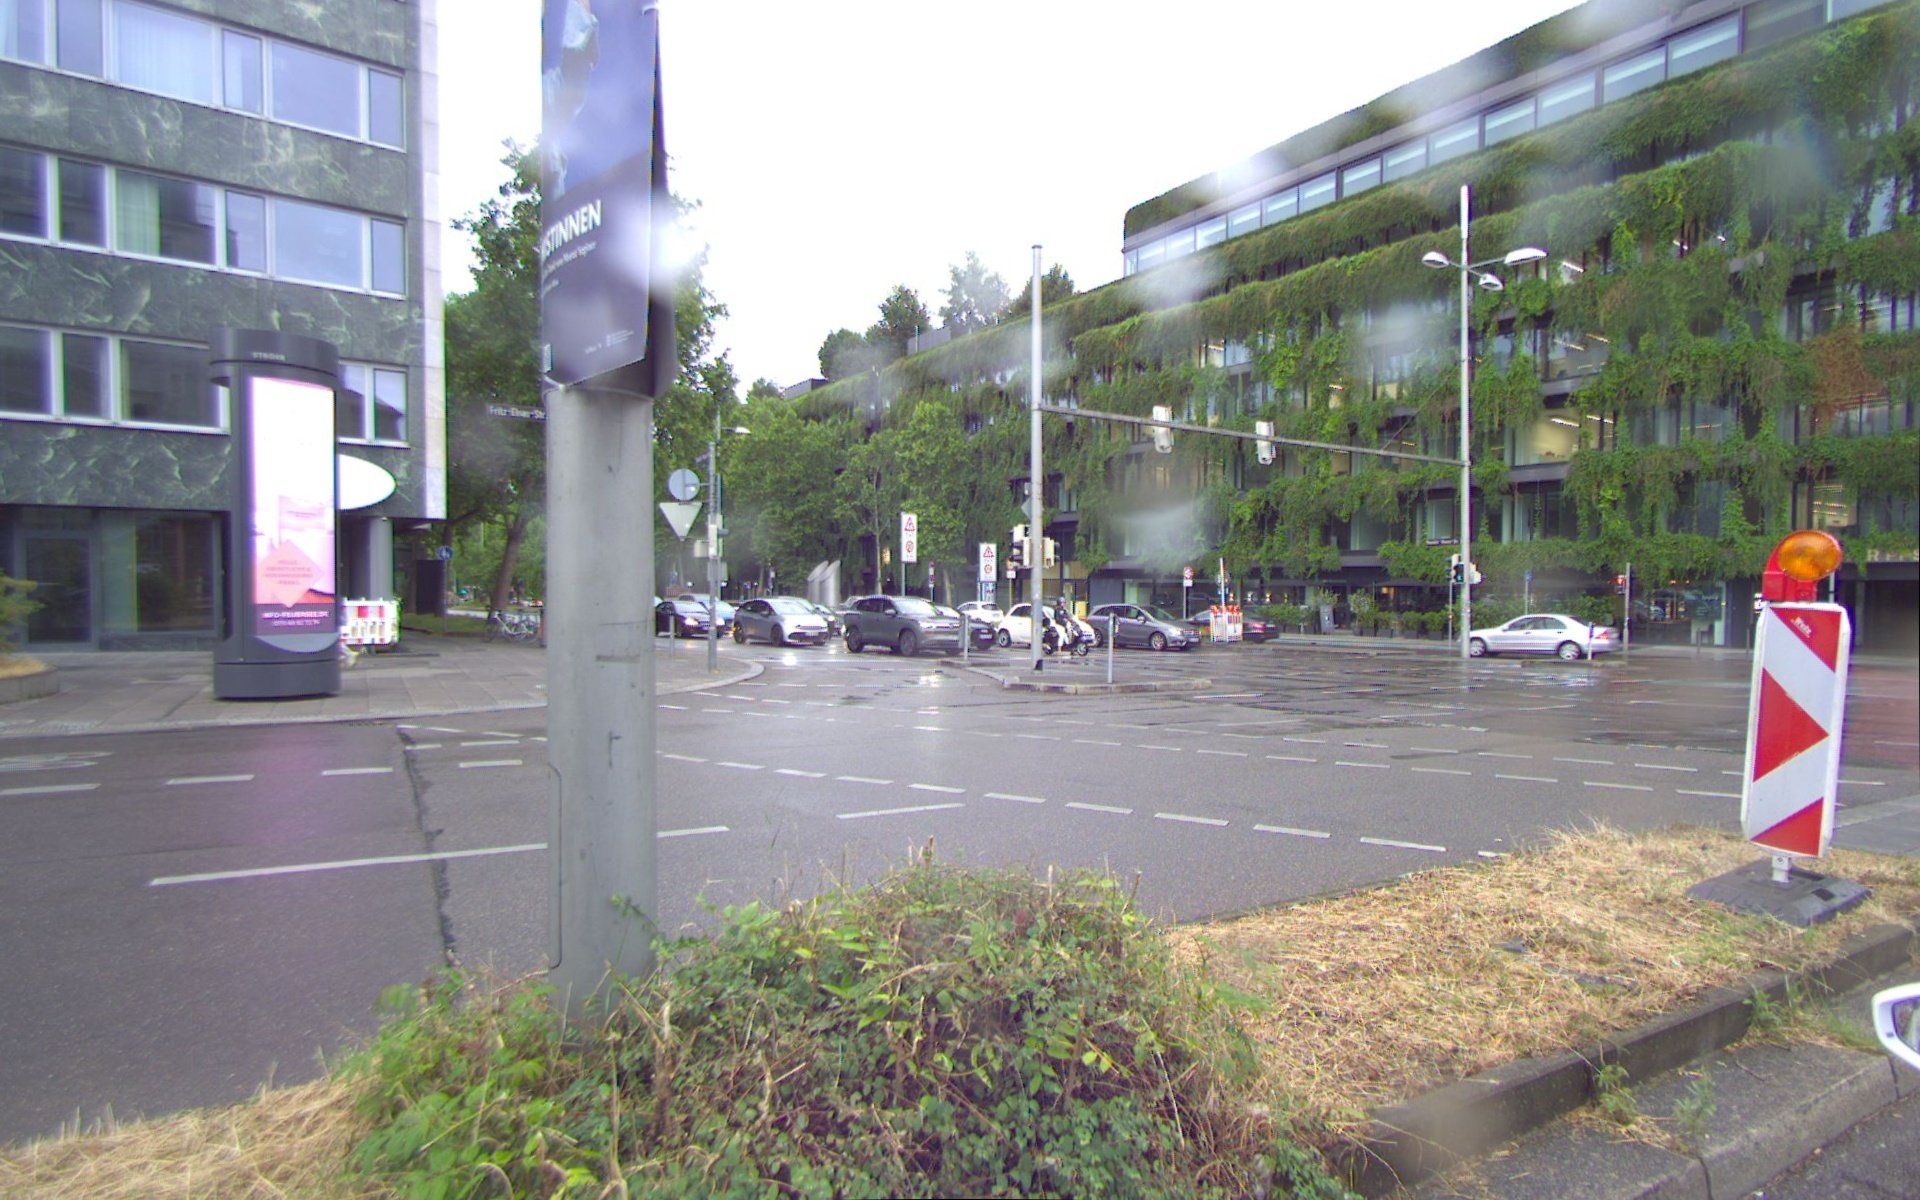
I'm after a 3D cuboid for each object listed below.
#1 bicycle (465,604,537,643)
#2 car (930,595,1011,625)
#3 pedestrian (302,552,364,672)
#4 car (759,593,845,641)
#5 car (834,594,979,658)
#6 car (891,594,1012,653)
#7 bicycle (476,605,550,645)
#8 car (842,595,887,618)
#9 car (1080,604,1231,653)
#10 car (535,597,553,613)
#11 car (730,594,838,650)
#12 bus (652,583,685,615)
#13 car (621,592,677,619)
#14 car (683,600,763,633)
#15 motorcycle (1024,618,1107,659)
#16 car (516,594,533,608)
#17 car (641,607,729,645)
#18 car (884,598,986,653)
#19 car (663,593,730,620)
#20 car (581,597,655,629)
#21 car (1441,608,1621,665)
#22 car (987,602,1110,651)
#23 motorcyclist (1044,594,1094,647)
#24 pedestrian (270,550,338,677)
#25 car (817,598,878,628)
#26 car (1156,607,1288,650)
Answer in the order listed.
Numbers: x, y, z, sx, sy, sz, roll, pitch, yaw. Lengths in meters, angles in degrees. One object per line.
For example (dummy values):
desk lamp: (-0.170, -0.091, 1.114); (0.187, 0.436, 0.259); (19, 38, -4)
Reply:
bicycle: (-12.967, 0.661, 28.410); (1.765, 1.066, 0.581); (1, 0, -35)
car: (0.552, 0.554, 56.583); (1.799, 1.532, 4.636); (2, 0, -45)
pedestrian: (-10.884, 0.210, 17.457); (0.715, 2.040, 0.598); (1, 0, -10)
car: (-6.283, 0.644, 39.668); (1.841, 1.791, 4.139); (1, 0, -32)
car: (-1.613, 0.700, 29.177); (1.984, 1.709, 4.314); (1, 0, -41)
car: (-0.325, 0.708, 32.467); (1.981, 1.773, 3.958); (1, 0, -37)
bicycle: (-12.289, 0.677, 27.633); (1.765, 1.066, 0.581); (1, 0, -35)
car: (-7.359, 0.490, 77.245); (1.783, 1.588, 3.962); (2, 0, -34)
car: (6.627, 0.933, 34.409); (4.842, 1.508, 1.922); (1, 0, 45)
car: (-57.198, 0.644, 138.155); (1.975, 2.040, 3.972); (2, 0, -27)
car: (-6.010, 0.696, 34.034); (1.982, 1.773, 3.956); (1, 0, -38)
bus: (-32.014, -0.153, 110.231); (1.783, 3.385, 5.922); (2, 0, -34)
car: (-18.676, 0.331, 60.208); (1.918, 1.544, 4.057); (1, 0, -38)
car: (-10.667, 0.697, 45.021); (1.982, 1.389, 4.131); (1, 0, -37)
motorcycle: (3.030, 1.087, 29.080); (2.331, 1.068, 0.830); (2, 0, 41)
car: (-62.751, 0.137, 144.780); (1.975, 2.040, 3.972); (1, 0, -27)
car: (-10.892, 1.002, 39.623); (1.982, 1.389, 4.131); (1, 0, -37)
car: (-1.002, 0.912, 37.763); (1.978, 1.923, 4.139); (1, 0, -33)
car: (-13.921, 0.336, 52.923); (1.982, 1.389, 4.131); (1, 0, -37)
car: (-15.647, 0.560, 45.874); (1.982, 1.389, 4.131); (1, 0, -37)
car: (18.150, 1.091, 32.081); (1.986, 1.497, 4.672); (-4, 3, -44)
car: (2.881, 0.855, 33.465); (1.981, 1.495, 3.958); (1, 0, -37)
motorcyclist: (3.143, 0.580, 28.992); (1.153, 1.492, 0.832); (2, 0, 40)
pedestrian: (-10.775, 0.231, 16.515); (0.715, 2.040, 0.598); (1, 0, -10)
car: (-6.615, 0.729, 58.829); (1.834, 1.692, 3.958); (1, 0, -37)
car: (10.407, 1.117, 40.151); (1.986, 1.496, 4.801); (3, -1, -43)
